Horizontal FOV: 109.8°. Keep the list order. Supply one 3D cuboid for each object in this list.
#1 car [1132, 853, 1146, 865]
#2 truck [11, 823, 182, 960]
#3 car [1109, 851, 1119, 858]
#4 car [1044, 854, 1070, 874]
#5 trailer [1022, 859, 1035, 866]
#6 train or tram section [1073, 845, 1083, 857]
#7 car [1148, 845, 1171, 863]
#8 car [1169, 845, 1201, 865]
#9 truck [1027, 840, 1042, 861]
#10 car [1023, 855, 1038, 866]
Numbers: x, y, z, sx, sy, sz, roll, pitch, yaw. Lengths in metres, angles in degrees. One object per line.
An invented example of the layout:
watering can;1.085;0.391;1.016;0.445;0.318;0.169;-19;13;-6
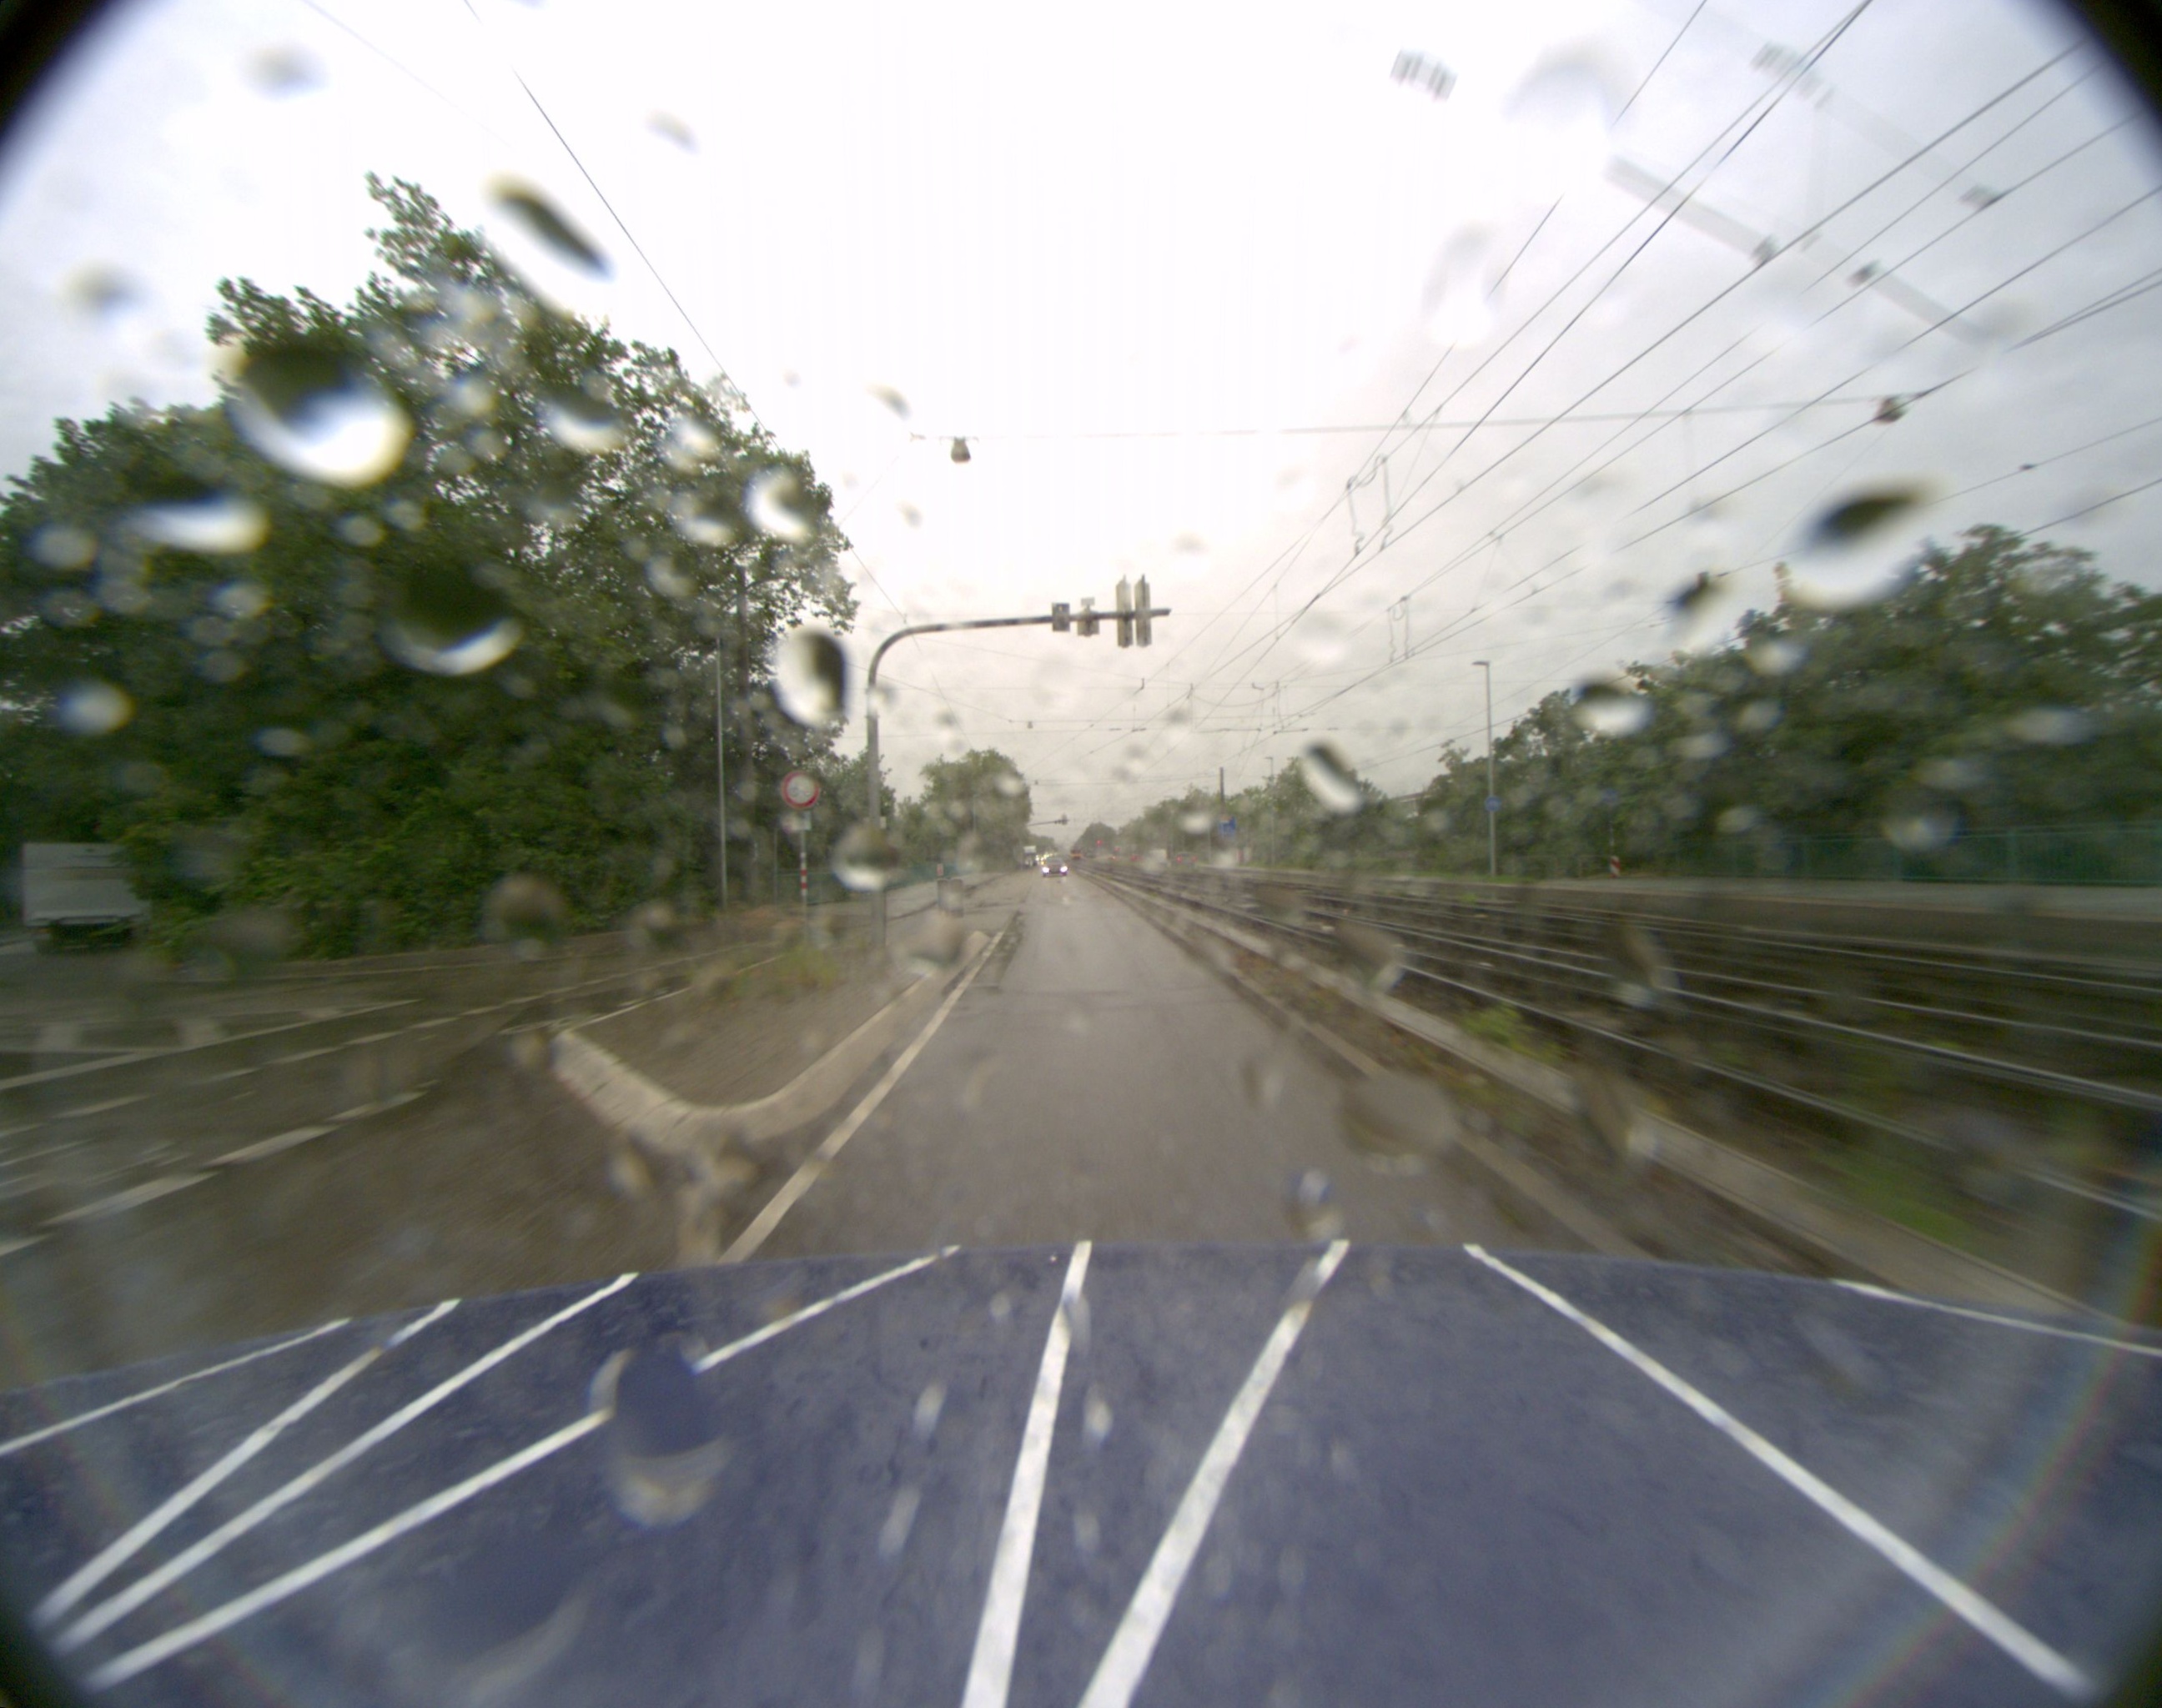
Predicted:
car;8.845;0.721;116.112;1.729;1.591;3.649;-4;1;-3
truck;-35.237;1.277;27.530;8.350;4.209;3.022;-3;1;41
car;8.405;0.019;191.920;1.999;1.639;5.370;-4;0;-3
car;-2.008;0.808;62.362;1.999;1.497;4.195;-4;0;-2
trailer;-7.337;1.182;106.382;1.547;0.931;3.275;-4;0;-2
train or tram section;-1.043;-1.006;235.292;2.460;3.603;15.101;-4;1;-2
car;9.449;0.007;92.062;1.999;2.032;5.026;-4;0;-3
car;9.881;0.088;72.282;1.999;1.639;5.370;-4;0;-3
truck;-9.086;-0.542;148.209;2.567;3.847;7.844;-4;0;-2
car;-7.422;0.956;111.586;1.999;1.394;4.195;-4;0;-2
